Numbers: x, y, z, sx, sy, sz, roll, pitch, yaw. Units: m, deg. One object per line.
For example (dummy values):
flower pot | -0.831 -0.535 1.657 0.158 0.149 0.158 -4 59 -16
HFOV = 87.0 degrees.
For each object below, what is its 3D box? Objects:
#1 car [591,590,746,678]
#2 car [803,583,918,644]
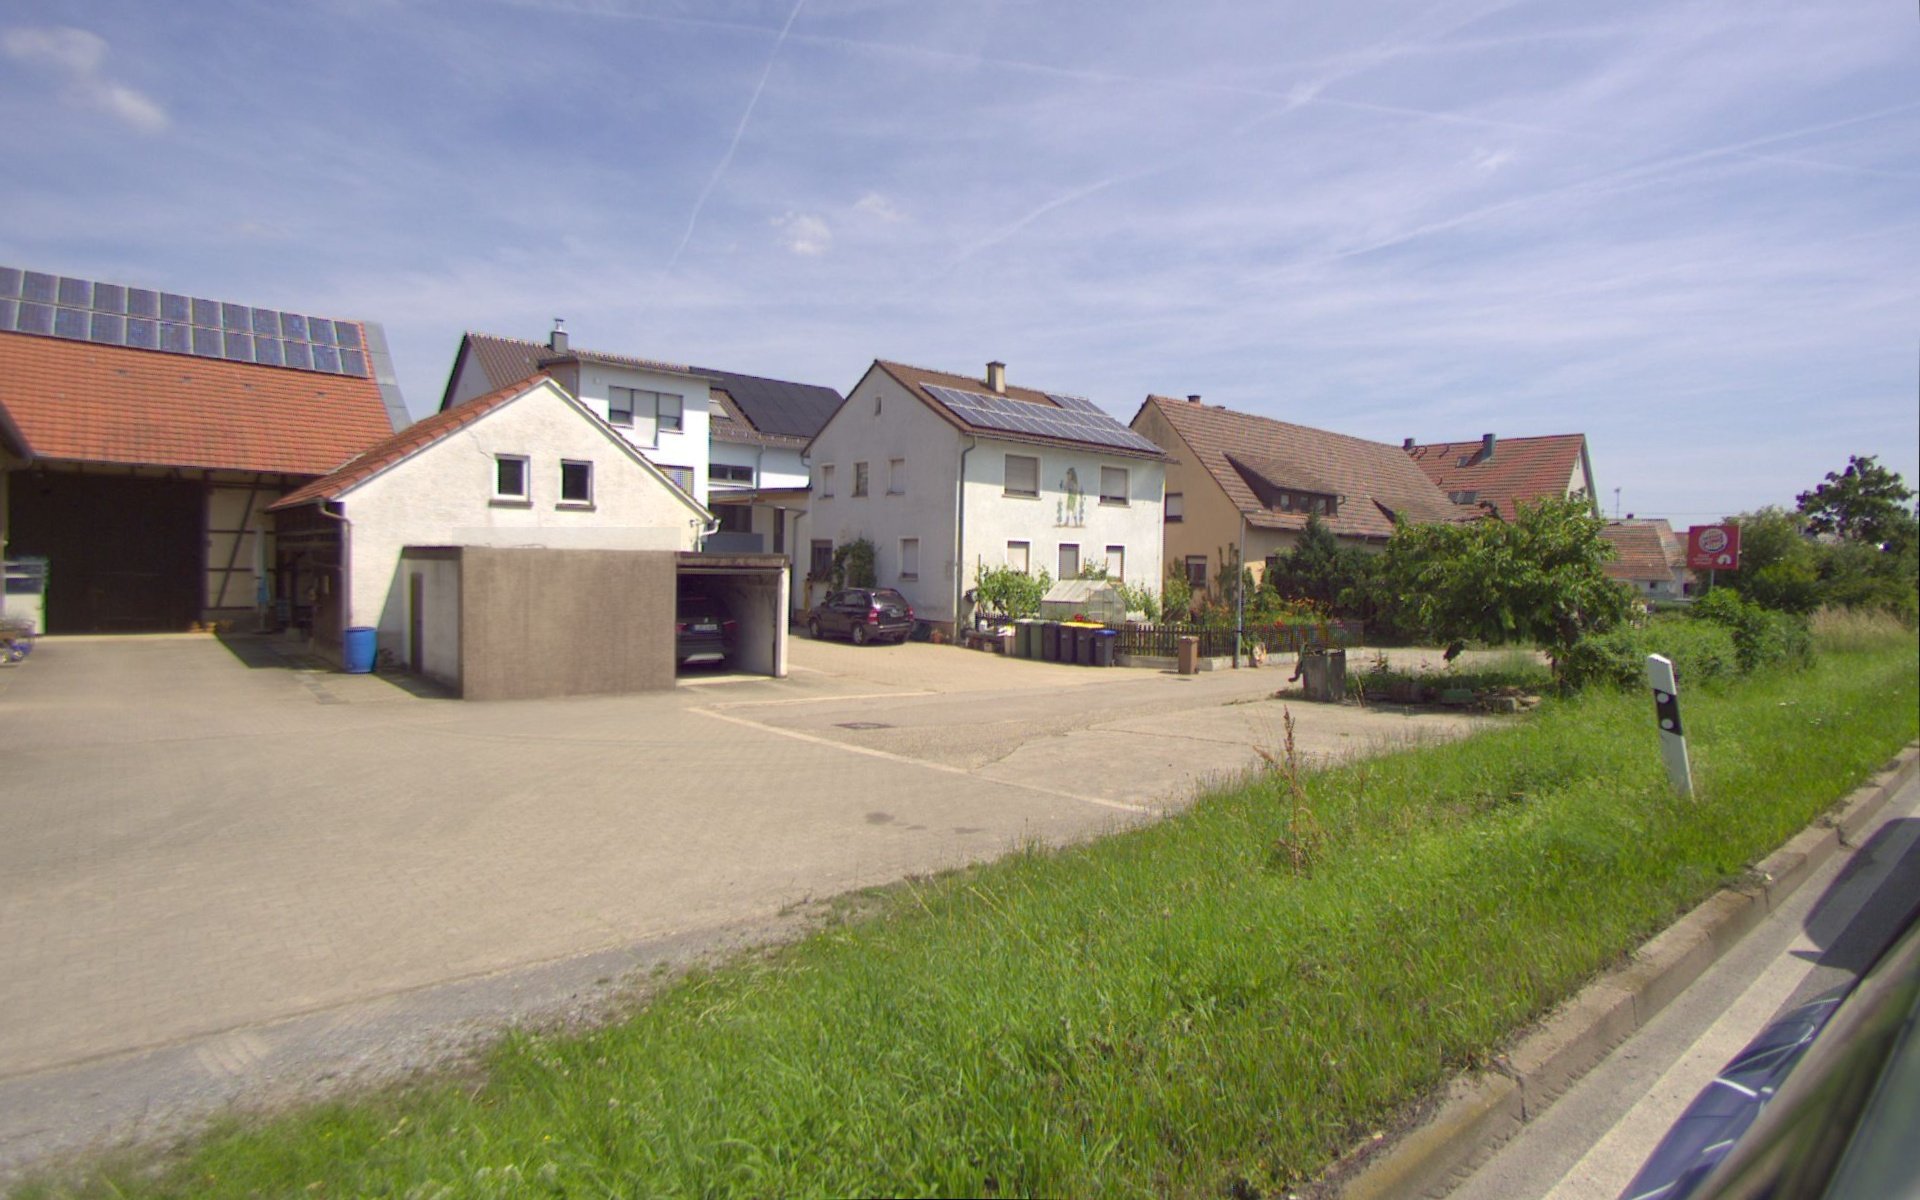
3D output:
car | -6.391 0.641 21.926 1.802 1.597 3.996 -1 2 -40
car | -3.234 0.368 32.293 1.810 1.714 3.959 -1 3 -38
